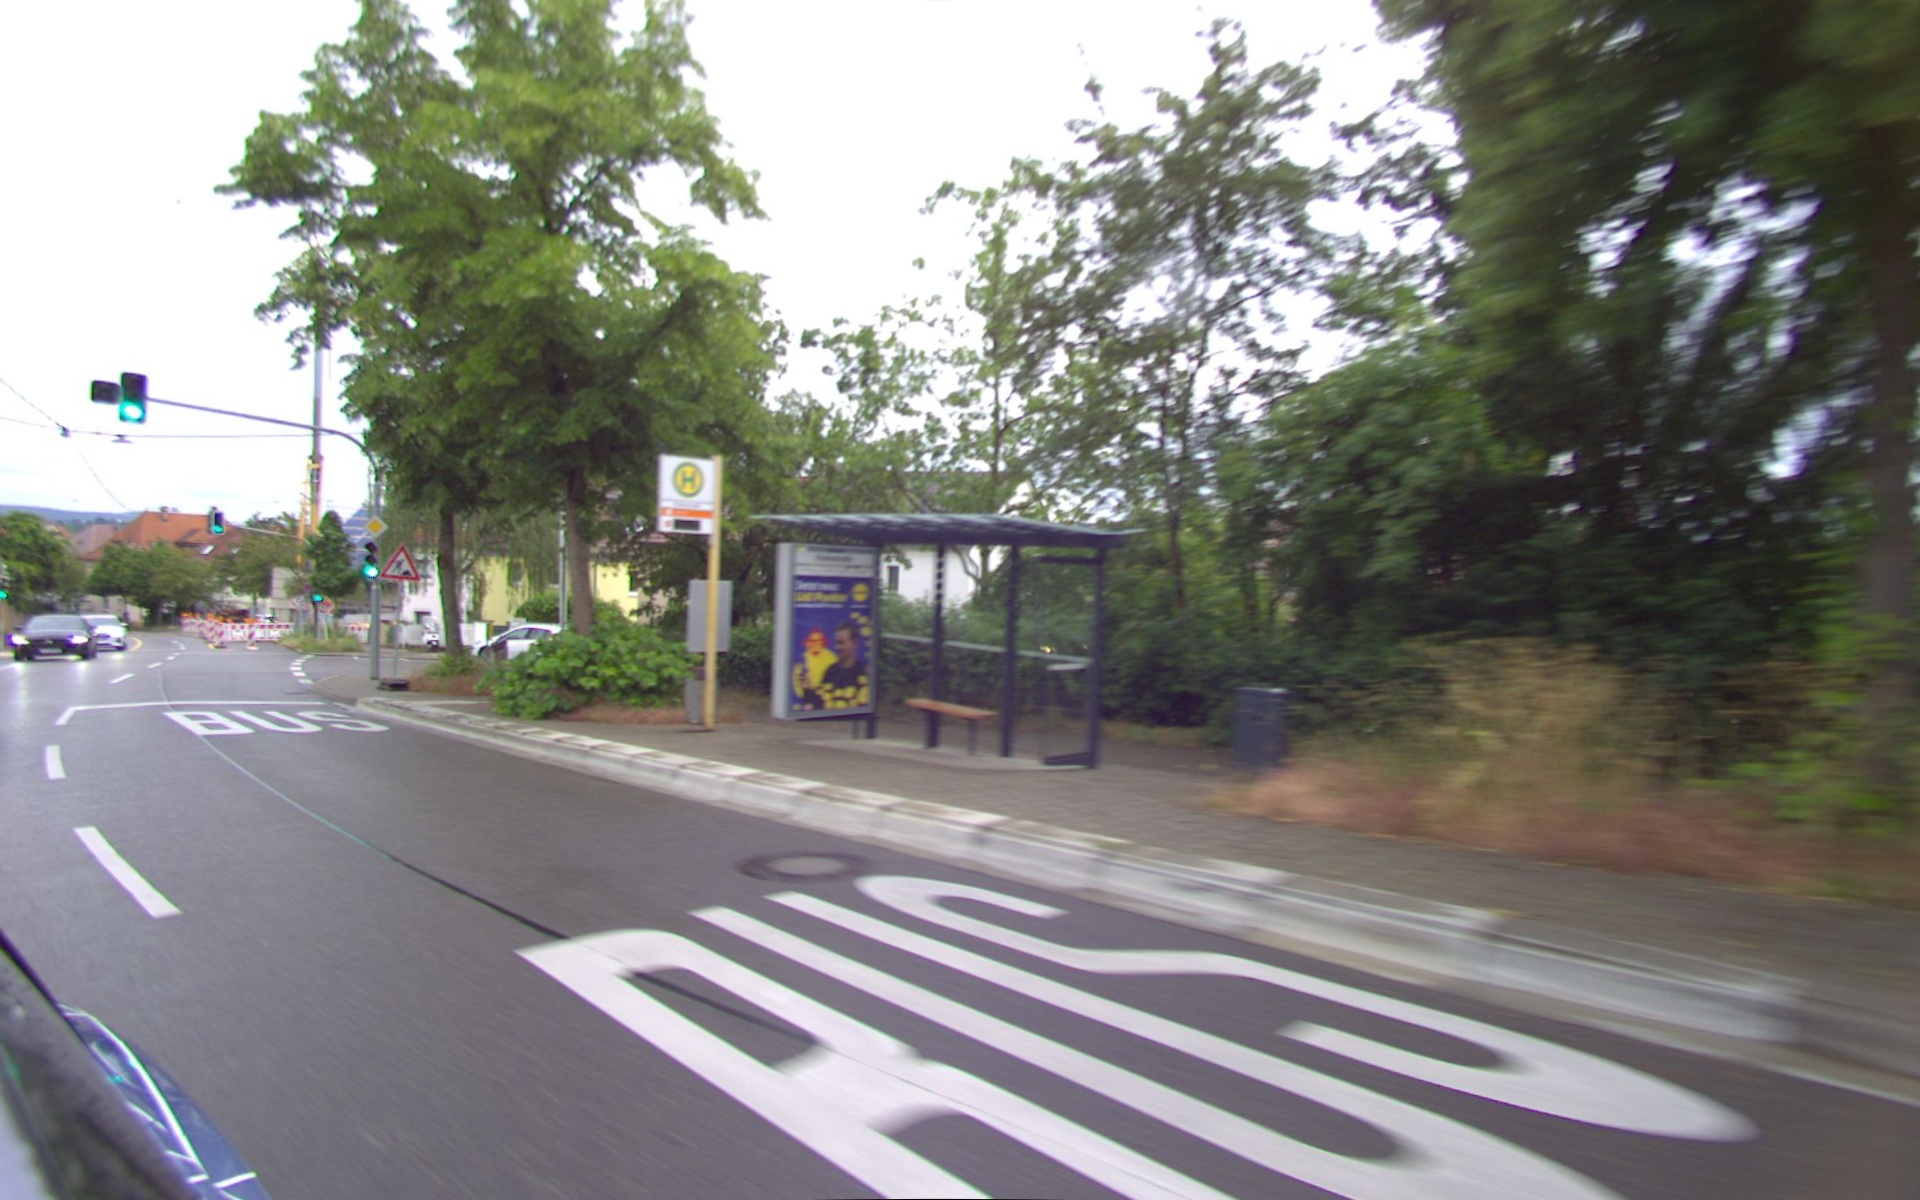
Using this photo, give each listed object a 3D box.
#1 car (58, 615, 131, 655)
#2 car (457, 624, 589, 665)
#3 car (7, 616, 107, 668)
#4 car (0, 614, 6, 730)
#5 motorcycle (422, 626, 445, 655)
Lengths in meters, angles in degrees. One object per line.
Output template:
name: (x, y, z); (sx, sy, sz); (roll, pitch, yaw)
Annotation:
car: (-38.782, 1.534, 45.443); (1.998, 1.641, 4.239); (-1, 0, -34)
car: (-15.894, 1.609, 36.917); (3.978, 1.426, 1.958); (0, -2, 8)
car: (-28.715, 1.283, 32.309); (1.999, 1.474, 4.009); (-1, 0, -37)
car: (-12.075, 0.908, 11.374); (1.777, 1.437, 4.389); (-1, 0, -41)
motorcycle: (-20.946, 1.597, 40.228); (0.466, 1.153, 1.424); (2, -2, -41)
